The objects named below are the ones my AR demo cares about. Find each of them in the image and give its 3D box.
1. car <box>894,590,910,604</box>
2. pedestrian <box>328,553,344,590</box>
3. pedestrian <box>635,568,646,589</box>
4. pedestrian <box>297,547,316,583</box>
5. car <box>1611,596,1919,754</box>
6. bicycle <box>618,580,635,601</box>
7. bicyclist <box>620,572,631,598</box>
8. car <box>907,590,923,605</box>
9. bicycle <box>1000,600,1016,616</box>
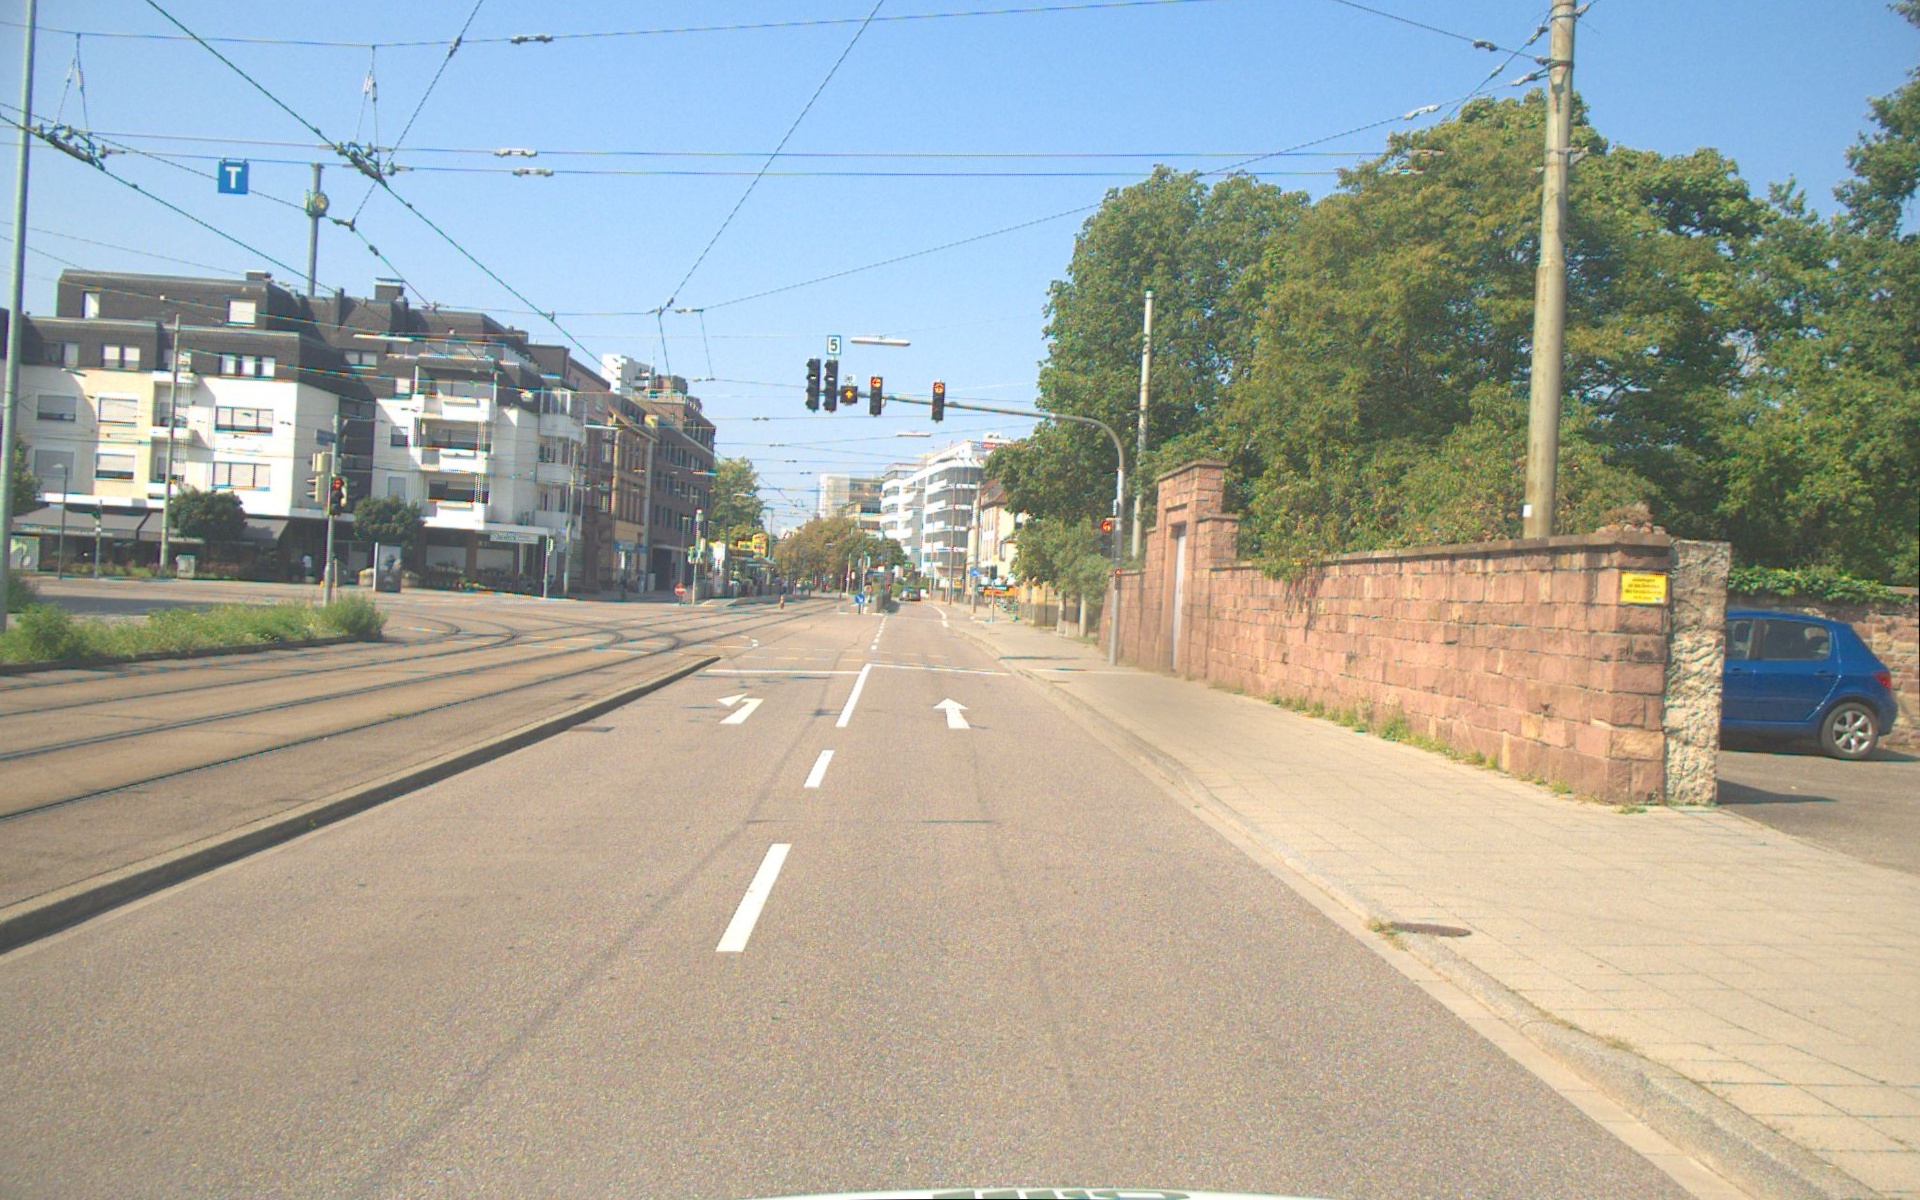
[{"bbox_3d":[-7.667,-0.384,219.557,1.970,1.891,3.999,1,0,-1],"label":"car"},{"bbox_3d":[-30.768,-1.413,81.534,0.593,1.776,0.559,2,0,-35],"label":"pedestrian"},{"bbox_3d":[-24.343,-1.637,126.061,0.473,1.587,0.888,4,-1,9],"label":"pedestrian"},{"bbox_3d":[-33.448,-1.784,84.681,0.666,1.771,0.698,1,0,-1],"label":"pedestrian"},{"bbox_3d":[9.605,0.841,18.474,3.888,1.489,1.777,4,1,-3],"label":"car"},{"bbox_3d":[-20.271,-0.584,100.502,0.563,1.200,2.208,1,0,0],"label":"bicycle"},{"bbox_3d":[-20.267,-0.924,100.285,0.556,1.549,0.490,1,0,-1],"label":"bicyclist"},{"bbox_3d":[-5.836,-0.357,213.260,1.970,1.891,3.999,1,0,-1],"label":"car"},{"bbox_3d":[3.625,0.598,124.244,0.717,1.152,2.834,0,0,-9],"label":"bicycle"}]
